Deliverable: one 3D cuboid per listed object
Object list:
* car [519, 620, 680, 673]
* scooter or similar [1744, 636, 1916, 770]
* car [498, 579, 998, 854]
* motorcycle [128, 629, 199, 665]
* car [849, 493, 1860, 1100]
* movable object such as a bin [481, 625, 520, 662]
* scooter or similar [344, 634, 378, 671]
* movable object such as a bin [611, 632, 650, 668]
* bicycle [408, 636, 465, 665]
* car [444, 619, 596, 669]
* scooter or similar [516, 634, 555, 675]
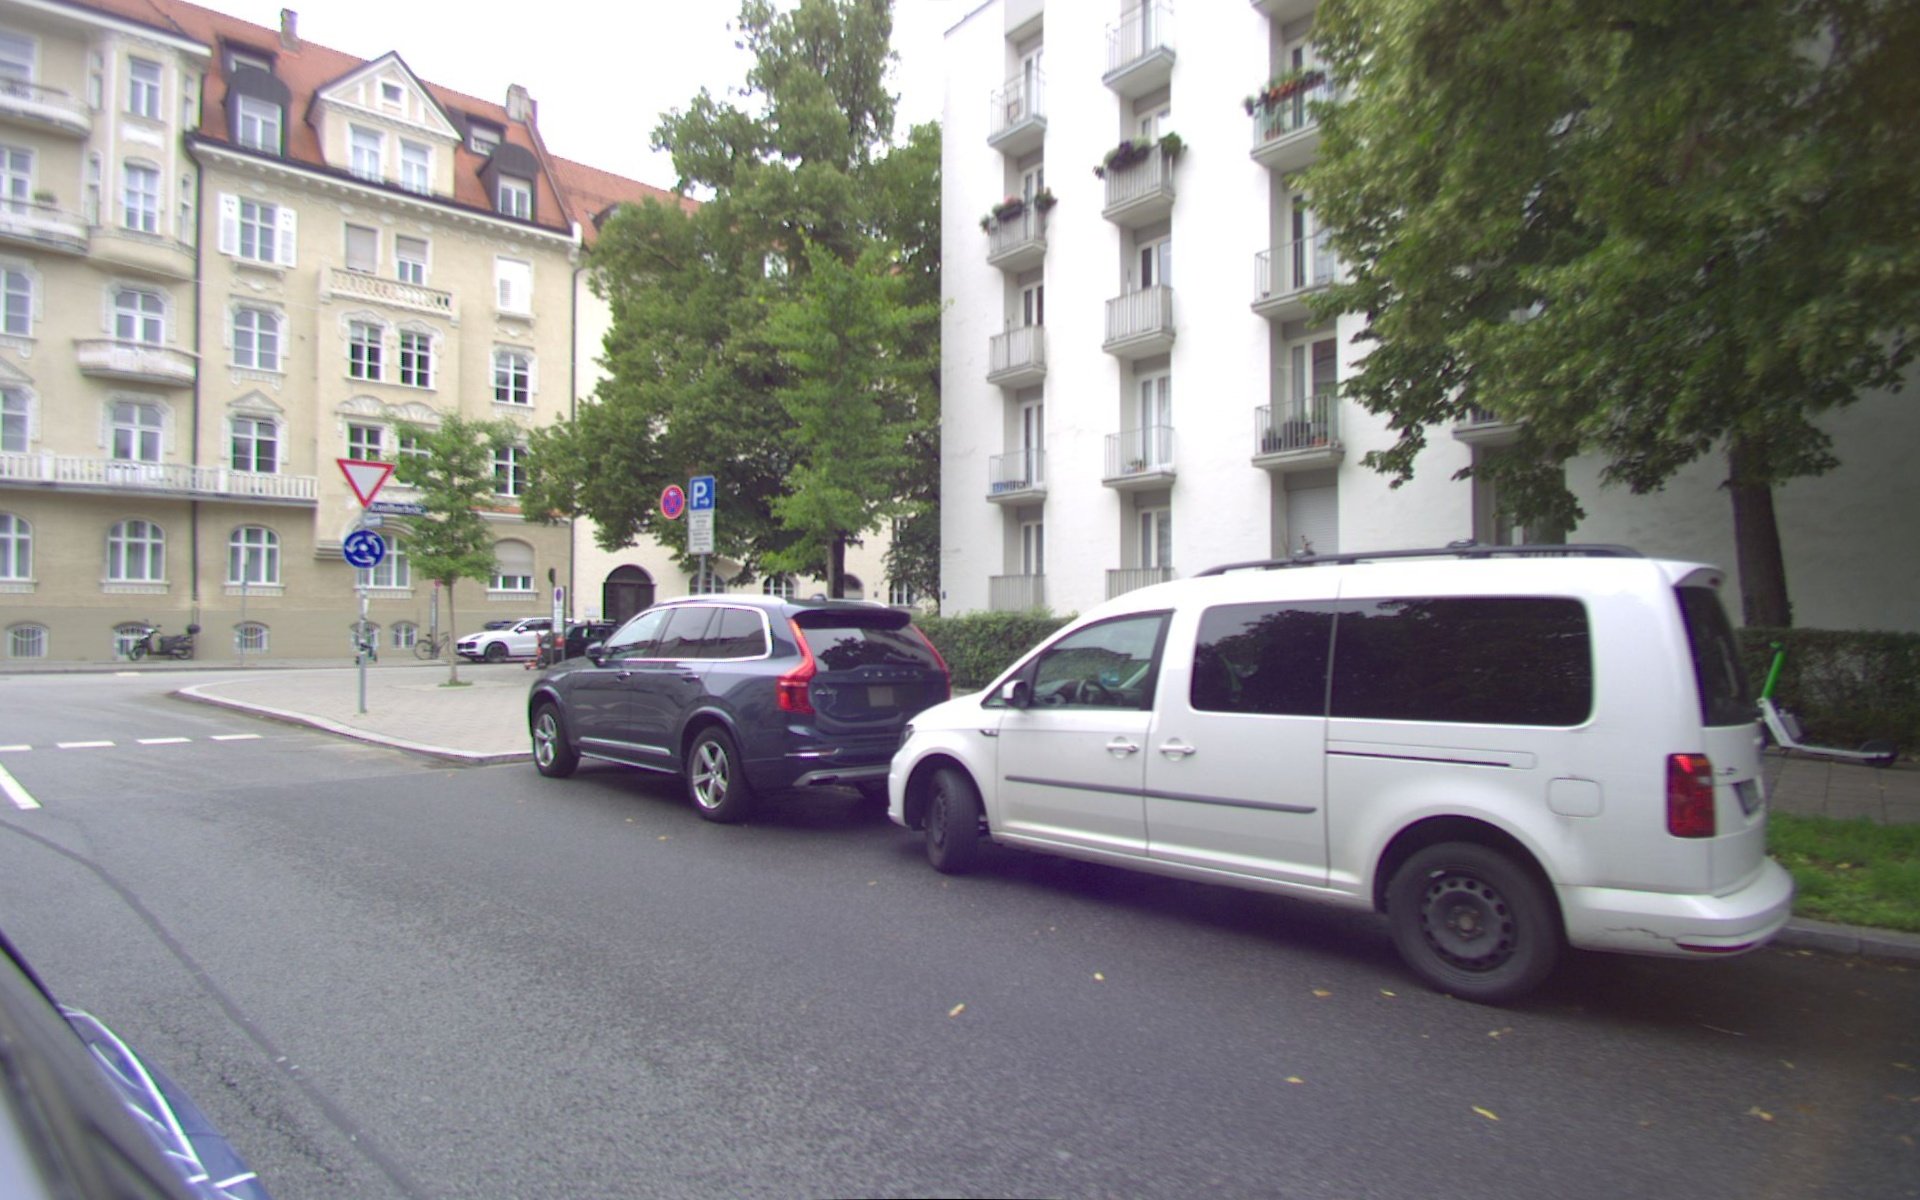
[{"bbox_3d":[-11.077,1.418,31.309,1.825,1.517,4.359,-3,-4,43],"label":"car"},{"bbox_3d":[8.453,0.965,9.865,0.394,1.202,1.217,2,-2,-43],"label":"scooter or similar"},{"bbox_3d":[-2.144,0.846,9.112,4.914,1.805,1.971,-1,-3,44],"label":"car"},{"bbox_3d":[-26.670,1.570,33.891,1.802,1.185,0.600,2,-3,-43],"label":"motorcycle"},{"bbox_3d":[1.678,0.694,5.576,4.849,1.933,1.809,-1,-3,43],"label":"car"},{"bbox_3d":[-18.510,1.748,40.746,1.155,1.436,1.096,2,-3,-40],"label":"movable object such as a bin"},{"bbox_3d":[-20.371,1.769,34.433,0.461,1.202,1.216,1,-2,-3],"label":"scooter or similar"},{"bbox_3d":[-13.313,2.006,40.933,1.155,1.436,1.096,2,-3,-40],"label":"movable object such as a bin"},{"bbox_3d":[-19.374,1.849,37.488,1.802,1.057,0.565,2,-3,-43],"label":"bicycle"},{"bbox_3d":[-16.255,1.595,37.526,4.766,1.713,1.984,2,-2,-43],"label":"car"},{"bbox_3d":[-11.733,1.499,27.955,0.995,1.097,0.388,0,-2,21],"label":"scooter or similar"}]
